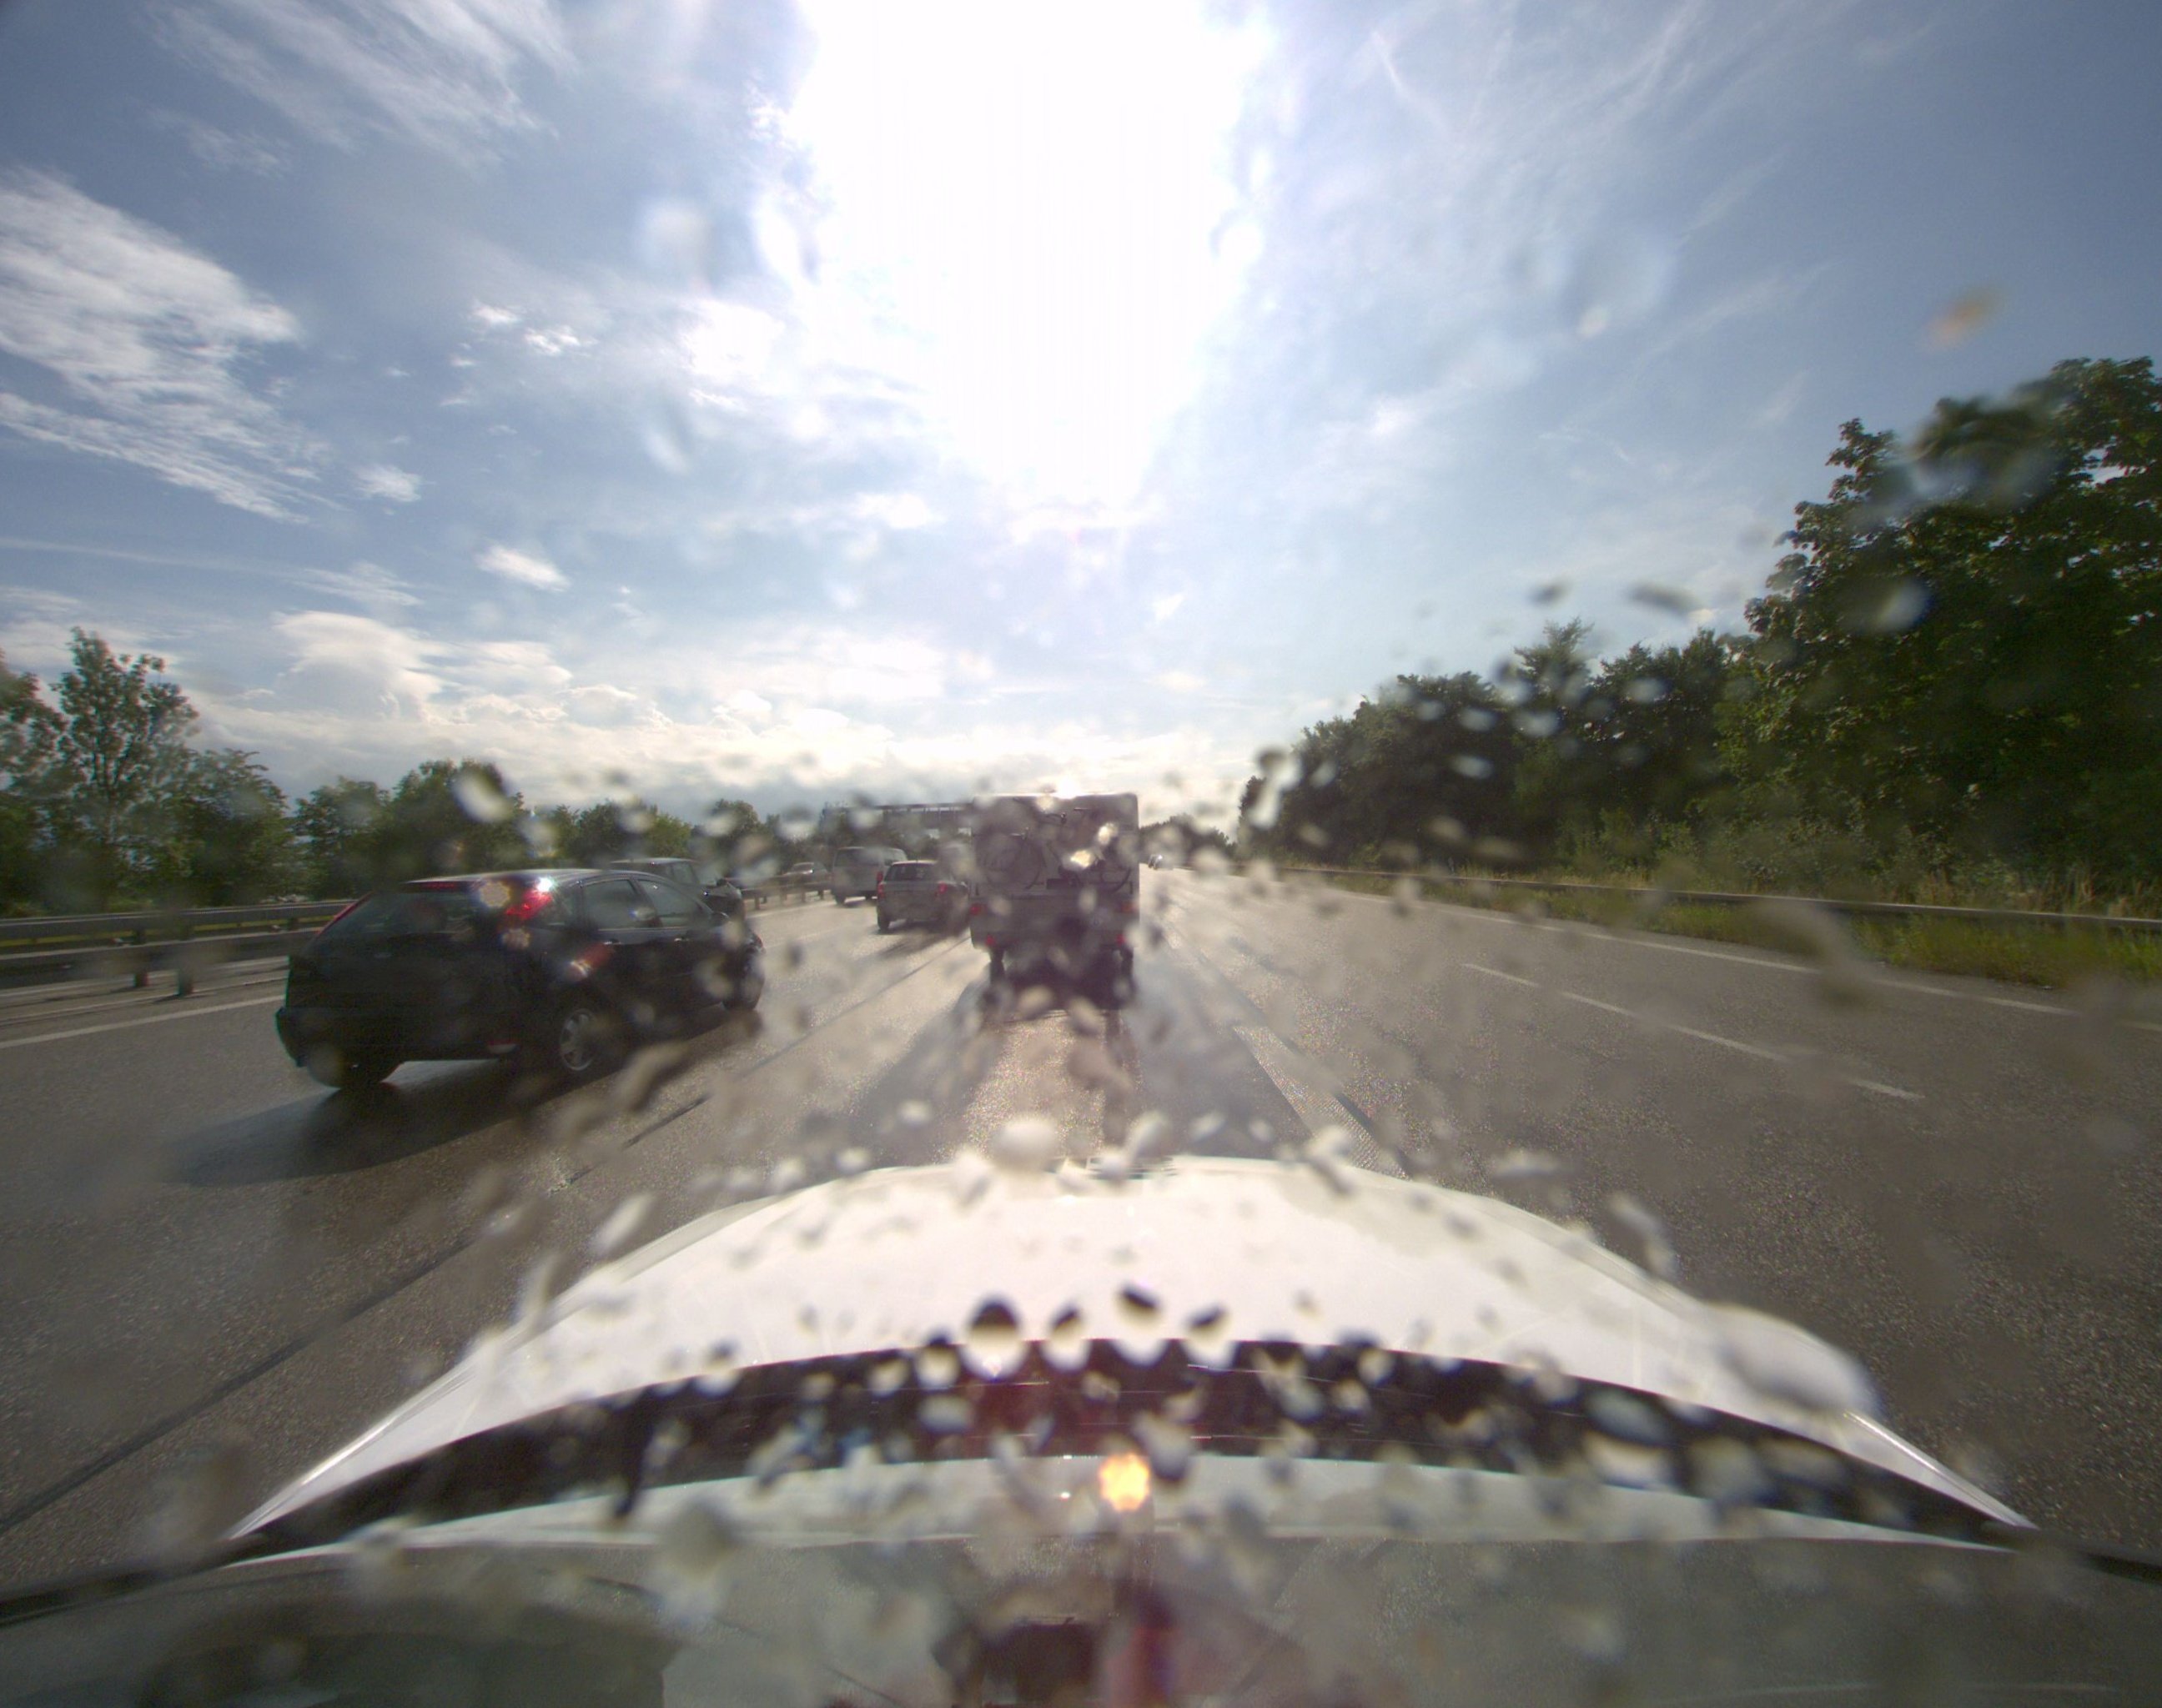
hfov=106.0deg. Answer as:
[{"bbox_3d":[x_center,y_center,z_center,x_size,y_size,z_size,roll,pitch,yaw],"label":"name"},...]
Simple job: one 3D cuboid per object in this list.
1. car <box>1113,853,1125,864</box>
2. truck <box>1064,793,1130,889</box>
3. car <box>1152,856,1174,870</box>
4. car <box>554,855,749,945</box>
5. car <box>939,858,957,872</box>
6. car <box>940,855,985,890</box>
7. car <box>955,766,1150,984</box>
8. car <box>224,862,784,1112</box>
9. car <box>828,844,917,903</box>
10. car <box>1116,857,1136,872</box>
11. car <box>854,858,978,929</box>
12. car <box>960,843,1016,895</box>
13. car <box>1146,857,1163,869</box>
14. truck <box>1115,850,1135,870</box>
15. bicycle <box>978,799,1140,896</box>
[{"bbox_3d":[5.592,0.645,119.288,1.713,1.684,4.002,-1,0,2],"label":"car"},{"bbox_3d":[0.836,-0.616,44.941,3.135,4.626,10.735,-1,0,1],"label":"truck"},{"bbox_3d":[8.991,1.033,89.515,1.872,1.494,3.996,-1,-1,-2],"label":"car"},{"bbox_3d":[-8.481,0.828,16.517,1.777,1.578,3.917,-1,0,1],"label":"car"},{"bbox_3d":[-19.917,1.625,122.098,1.987,2.013,4.362,-1,0,0],"label":"car"},{"bbox_3d":[-6.007,0.923,41.706,1.766,1.662,3.998,-1,-1,-1],"label":"car"},{"bbox_3d":[-0.275,0.277,12.109,2.401,2.674,4.002,-1,-1,2],"label":"car"},{"bbox_3d":[-4.196,0.820,6.879,1.752,1.443,4.002,-1,0,2],"label":"car"},{"bbox_3d":[-7.462,0.656,29.685,1.841,1.934,5.017,-1,0,1],"label":"car"},{"bbox_3d":[4.935,1.125,89.195,1.830,1.558,3.998,-1,-1,-1],"label":"car"},{"bbox_3d":[-3.738,0.843,19.150,1.980,1.458,3.828,-1,0,2],"label":"car"},{"bbox_3d":[-3.783,0.598,33.680,1.871,2.014,3.998,-1,-1,-1],"label":"car"},{"bbox_3d":[9.658,1.192,107.230,1.870,1.629,3.999,-1,-1,0],"label":"car"},{"bbox_3d":[5.649,0.758,105.183,2.406,2.444,6.056,-1,0,2],"label":"truck"},{"bbox_3d":[-0.251,-0.074,9.912,1.926,1.141,0.384,-1,-1,2],"label":"bicycle"}]
